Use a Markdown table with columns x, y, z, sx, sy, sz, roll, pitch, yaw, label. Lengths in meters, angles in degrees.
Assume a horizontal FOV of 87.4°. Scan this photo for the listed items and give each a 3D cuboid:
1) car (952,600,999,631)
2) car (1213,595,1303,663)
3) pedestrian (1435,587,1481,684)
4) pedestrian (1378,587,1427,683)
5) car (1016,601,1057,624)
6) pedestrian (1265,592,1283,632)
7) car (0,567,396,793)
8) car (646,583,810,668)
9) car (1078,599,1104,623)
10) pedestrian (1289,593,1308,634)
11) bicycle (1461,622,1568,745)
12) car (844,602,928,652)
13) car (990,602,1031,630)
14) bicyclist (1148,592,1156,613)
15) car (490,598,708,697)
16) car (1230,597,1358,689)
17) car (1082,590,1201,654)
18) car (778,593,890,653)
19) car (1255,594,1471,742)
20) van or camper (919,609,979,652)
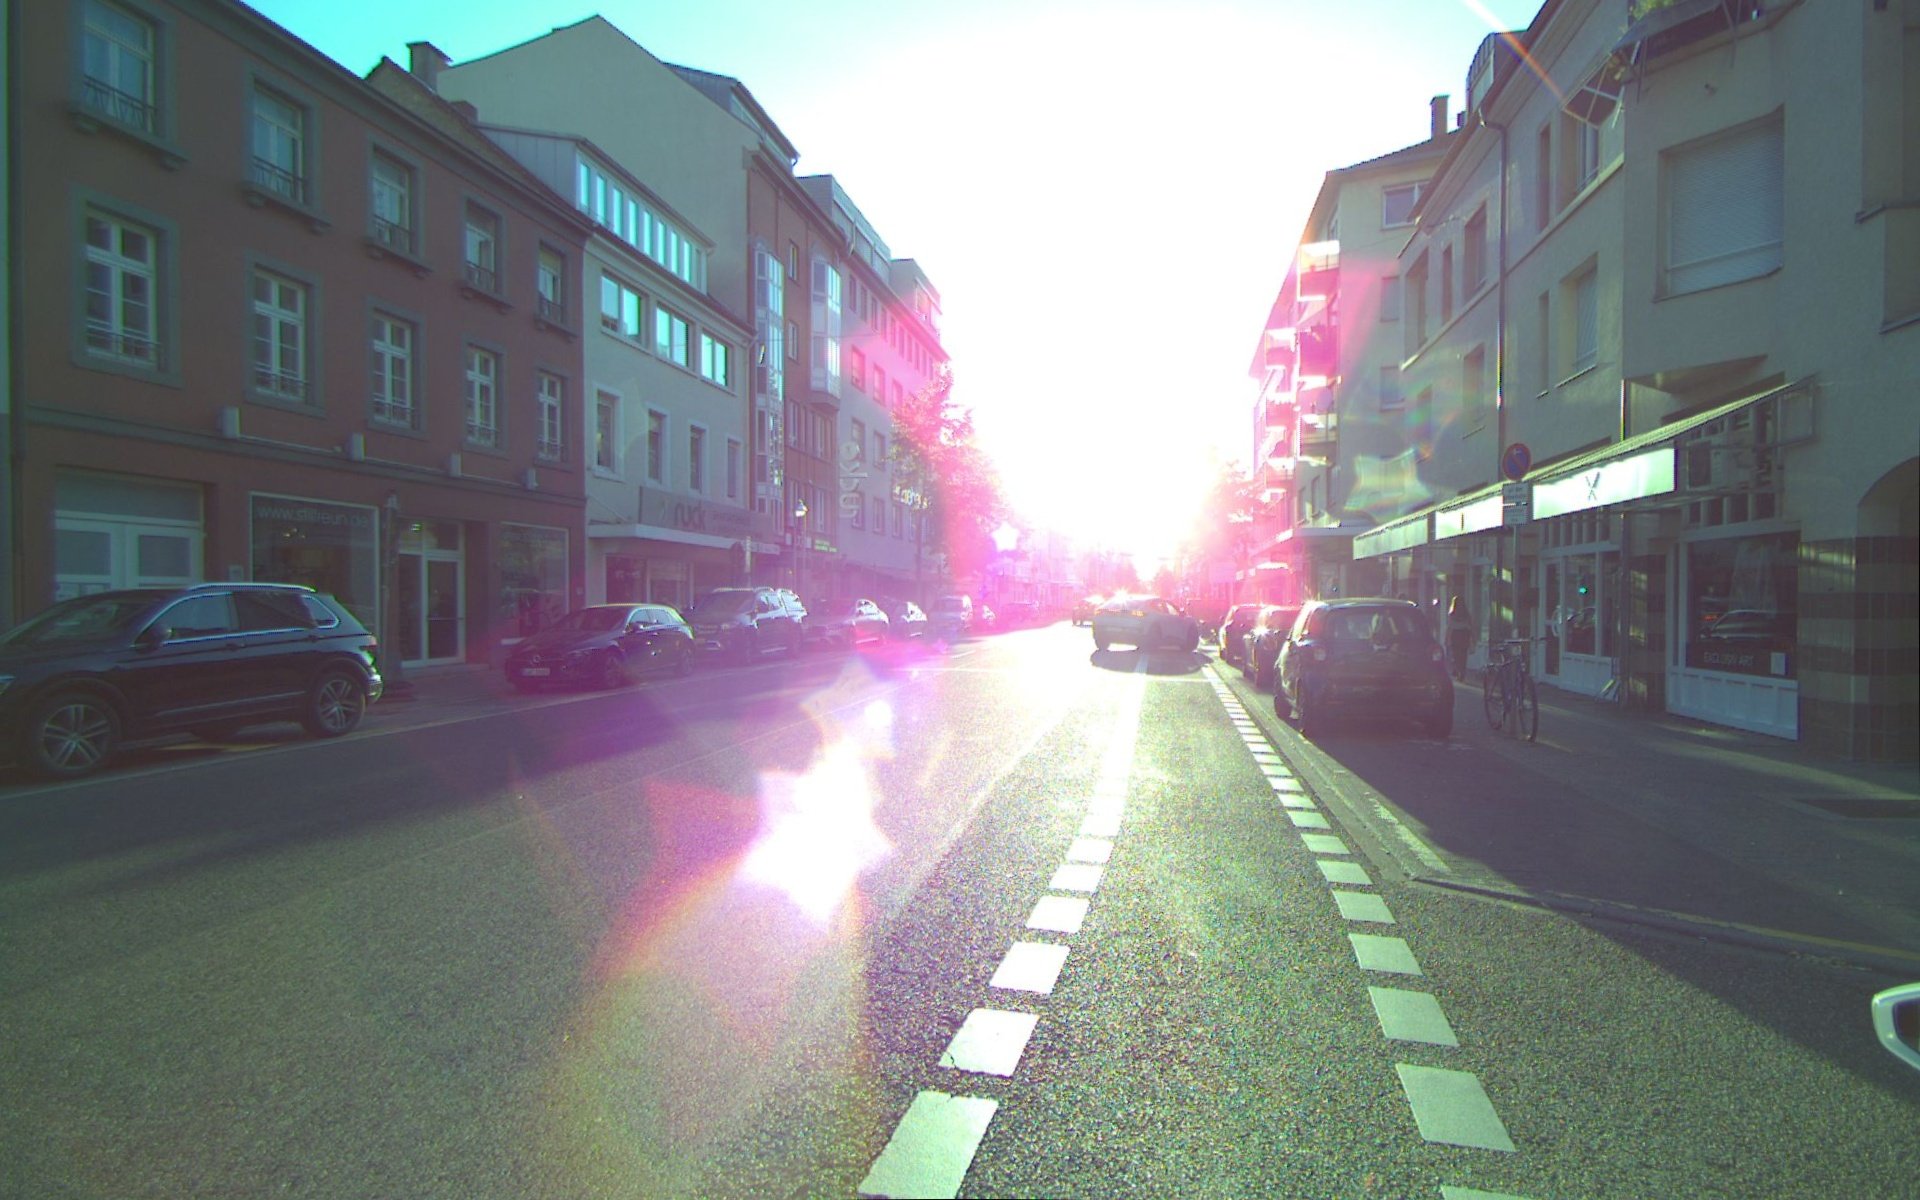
| x | y | z | sx | sy | sz | roll | pitch | yaw | label |
| --- | --- | --- | --- | --- | --- | --- | --- | --- | --- |
| 0.853 | 0.760 | 51.794 | 1.661 | 1.523 | 3.789 | 0 | 0 | 13 | car |
| 7.611 | 0.689 | 25.980 | 1.758 | 1.601 | 3.789 | 0 | 0 | 9 | car |
| 9.020 | 0.632 | 18.214 | 0.550 | 1.723 | 0.832 | 0 | 0 | 11 | pedestrian |
| 8.174 | 0.632 | 18.588 | 0.619 | 1.723 | 1.041 | 0 | 0 | 11 | pedestrian |
| 5.484 | 0.879 | 72.482 | 1.657 | 1.473 | 3.461 | 1 | 1 | -19 | car |
| 14.425 | 0.564 | 46.169 | 0.706 | 1.815 | 0.667 | -1 | 0 | 12 | pedestrian |
| -7.864 | 0.639 | 9.643 | 1.763 | 1.721 | 4.463 | -2 | 0 | 11 | car |
| -5.394 | 0.555 | 24.262 | 1.959 | 1.801 | 5.322 | -1 | 0 | 9 | car |
| 8.570 | 0.711 | 65.865 | 1.602 | 1.430 | 3.660 | 2 | 1 | 7 | car |
| 15.190 | 0.595 | 45.088 | 0.706 | 1.815 | 0.667 | -1 | 0 | 12 | pedestrian |
| 6.239 | 0.885 | 11.399 | 0.549 | 1.222 | 1.978 | 0 | 0 | 14 | bicycle |
| -2.578 | 0.918 | 36.185 | 1.959 | 1.677 | 4.482 | 0 | 0 | 11 | car |
| 2.863 | 0.862 | 56.636 | 1.661 | 1.523 | 3.789 | 0 | 0 | 13 | car |
| 14.297 | 0.184 | 74.830 | 0.537 | 1.602 | 0.803 | 0 | 0 | 14 | bicyclist |
| -6.341 | 0.762 | 18.251 | 1.656 | 1.508 | 4.413 | -3 | 0 | 11 | car |
| 6.304 | 0.738 | 19.364 | 1.758 | 1.601 | 3.789 | 0 | 0 | 9 | car |
| 5.496 | 0.619 | 29.974 | 1.848 | 1.720 | 4.307 | 2 | 1 | 35 | car |
| -3.733 | 0.663 | 30.744 | 1.959 | 1.677 | 4.630 | -1 | 0 | 12 | car |
| 4.981 | 0.734 | 12.972 | 1.758 | 1.601 | 3.969 | 0 | 0 | 9 | car |
| -0.444 | 1.355 | 46.083 | 1.757 | 1.797 | 4.560 | 0 | 0 | 13 | van or camper |
